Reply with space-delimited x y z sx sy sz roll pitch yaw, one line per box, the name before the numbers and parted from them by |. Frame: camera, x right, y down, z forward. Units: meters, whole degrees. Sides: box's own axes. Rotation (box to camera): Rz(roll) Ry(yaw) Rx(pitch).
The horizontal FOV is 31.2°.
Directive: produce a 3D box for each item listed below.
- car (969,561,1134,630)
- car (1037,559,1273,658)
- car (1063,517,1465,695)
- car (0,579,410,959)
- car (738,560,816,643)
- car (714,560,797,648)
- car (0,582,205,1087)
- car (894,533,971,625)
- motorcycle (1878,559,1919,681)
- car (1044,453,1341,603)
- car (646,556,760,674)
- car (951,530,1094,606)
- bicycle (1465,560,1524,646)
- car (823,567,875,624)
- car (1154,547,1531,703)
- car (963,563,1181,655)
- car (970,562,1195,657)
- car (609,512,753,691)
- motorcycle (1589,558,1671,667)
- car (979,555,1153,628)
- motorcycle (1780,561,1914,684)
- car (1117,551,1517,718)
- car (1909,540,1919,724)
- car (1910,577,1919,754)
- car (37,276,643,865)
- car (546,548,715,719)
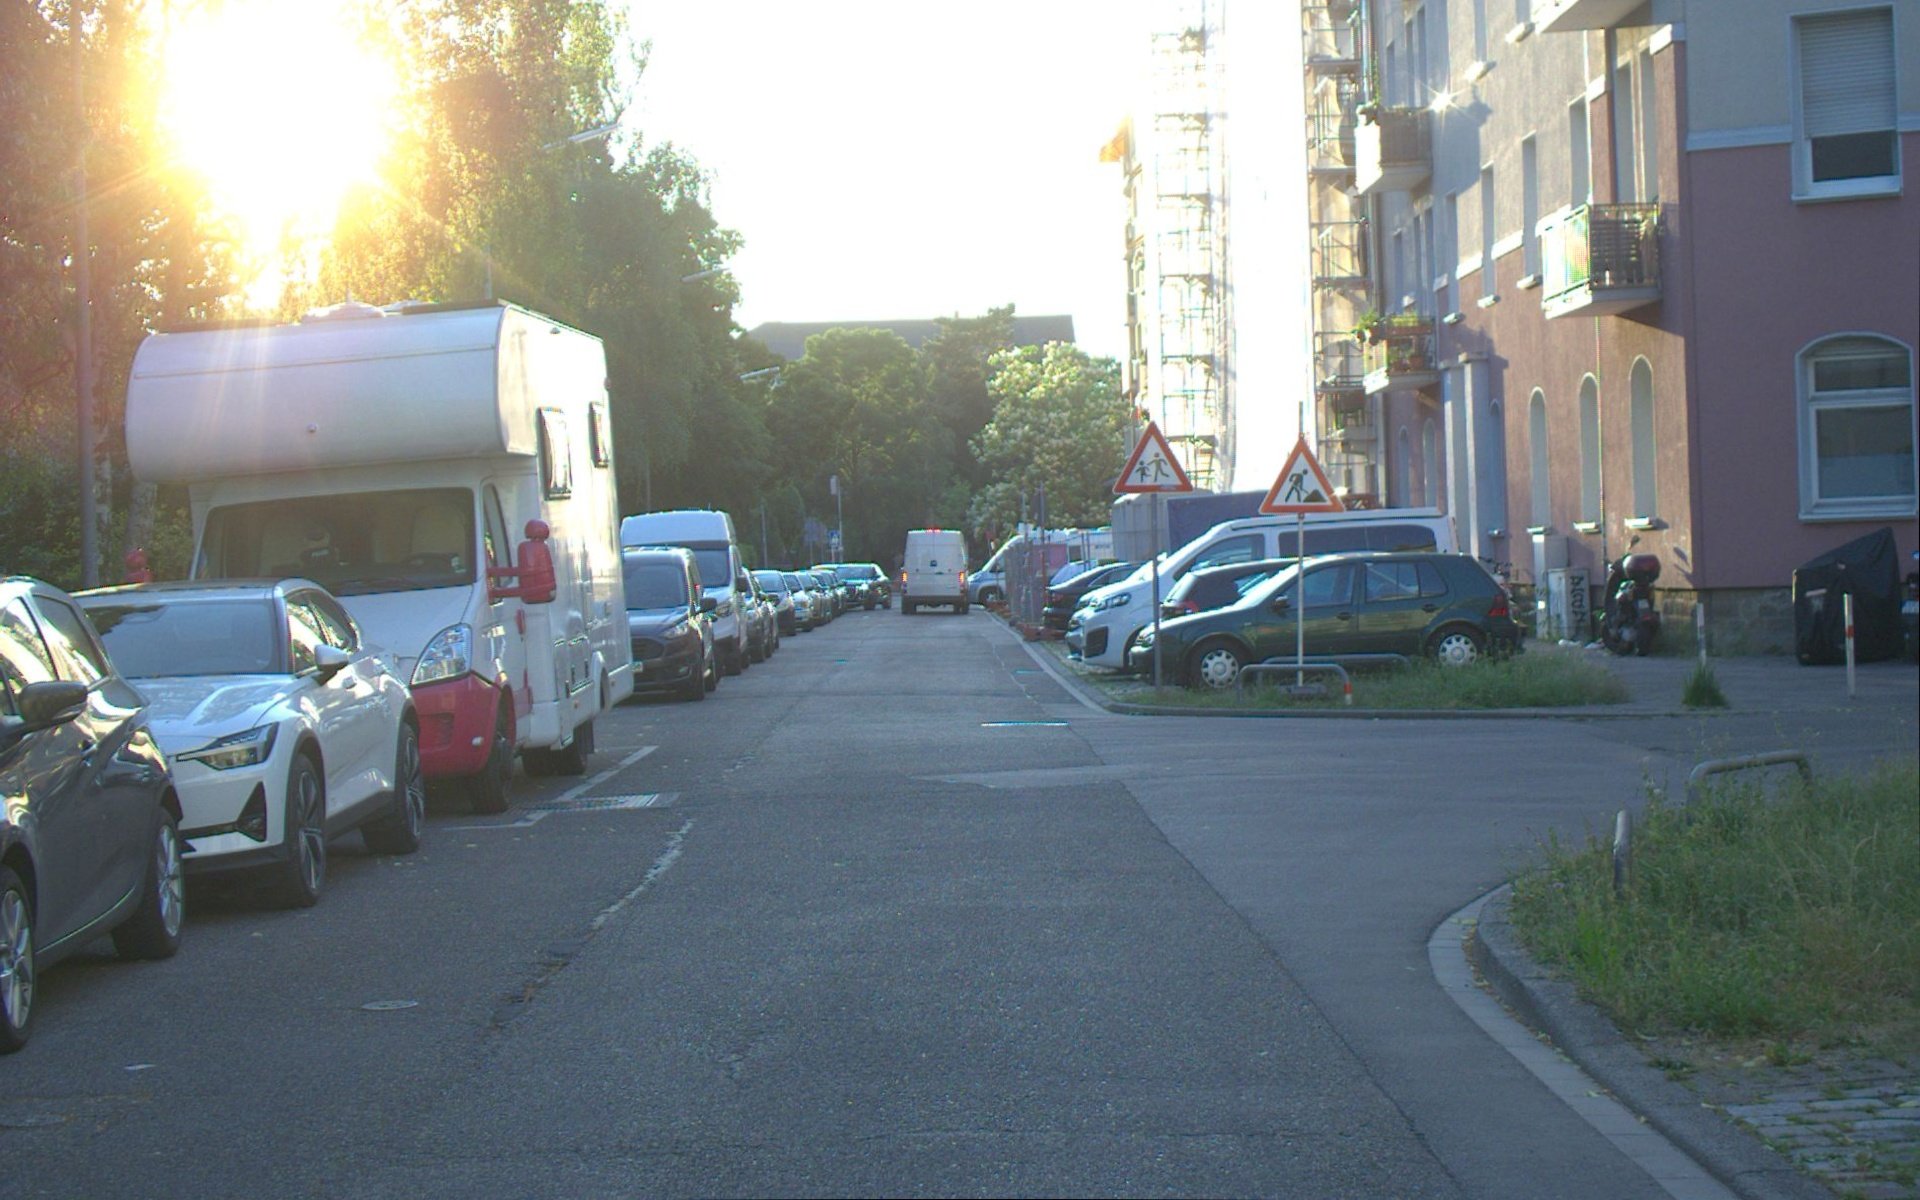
car | 2.262 -0.121 85.954 3.987 1.525 1.659 -3 0 -1
car | 3.415 0.138 60.767 3.987 1.525 1.659 -3 0 -1
car | 3.793 0.061 43.473 4.813 1.961 1.739 -3 0 -1
car | -3.742 0.714 16.440 1.653 1.536 3.876 -3 0 -2
car | -4.276 0.021 80.821 1.653 1.824 3.876 -3 0 -2
car | -4.510 0.075 76.193 1.653 1.824 3.876 -3 0 -2
car | -3.875 0.761 12.027 1.653 1.559 3.876 -3 0 -2
car | -0.900 -0.651 107.923 2.128 2.708 4.833 -3 0 -2
motorcycle | 10.043 0.188 35.497 0.518 1.224 1.978 -1 1 32
car | 3.321 -1.027 49.704 3.986 2.007 2.000 -2 0 -4
car | -4.259 0.230 57.386 1.653 1.824 3.876 -3 0 -2
car | 2.156 -1.114 119.434 4.813 2.400 1.739 -3 0 -1
bicycle | 7.821 0.030 50.365 0.517 1.224 1.981 -1 1 -1
car | -3.790 -0.165 117.321 1.653 1.824 3.876 -3 0 -2
car | 4.281 0.271 38.868 3.987 1.525 1.659 -3 0 -1
car | 2.107 0.156 65.227 3.987 1.525 1.659 -3 0 -1
car | 2.235 0.168 63.252 3.987 1.525 1.659 -3 0 -1
car | -4.110 0.001 51.255 1.769 2.437 5.145 -3 0 -2
motorcycle | 7.747 0.131 39.838 0.517 1.224 1.981 -1 1 -1
car | 2.497 -0.190 81.797 3.987 1.525 1.659 -3 0 -1
motorcycle | 9.284 0.221 35.937 0.518 1.224 1.977 -1 1 40
car | 3.746 0.348 36.550 3.987 1.525 1.659 -3 0 -1
car | 10.237 0.226 29.251 3.884 1.569 1.712 -1 1 -21
car | 4.397 0.540 8.043 3.811 1.423 1.635 -3 0 -1
car | -3.931 -0.198 23.690 2.620 3.258 7.697 -3 0 0
car | -3.821 0.366 40.363 1.653 1.824 3.876 -3 0 -2
